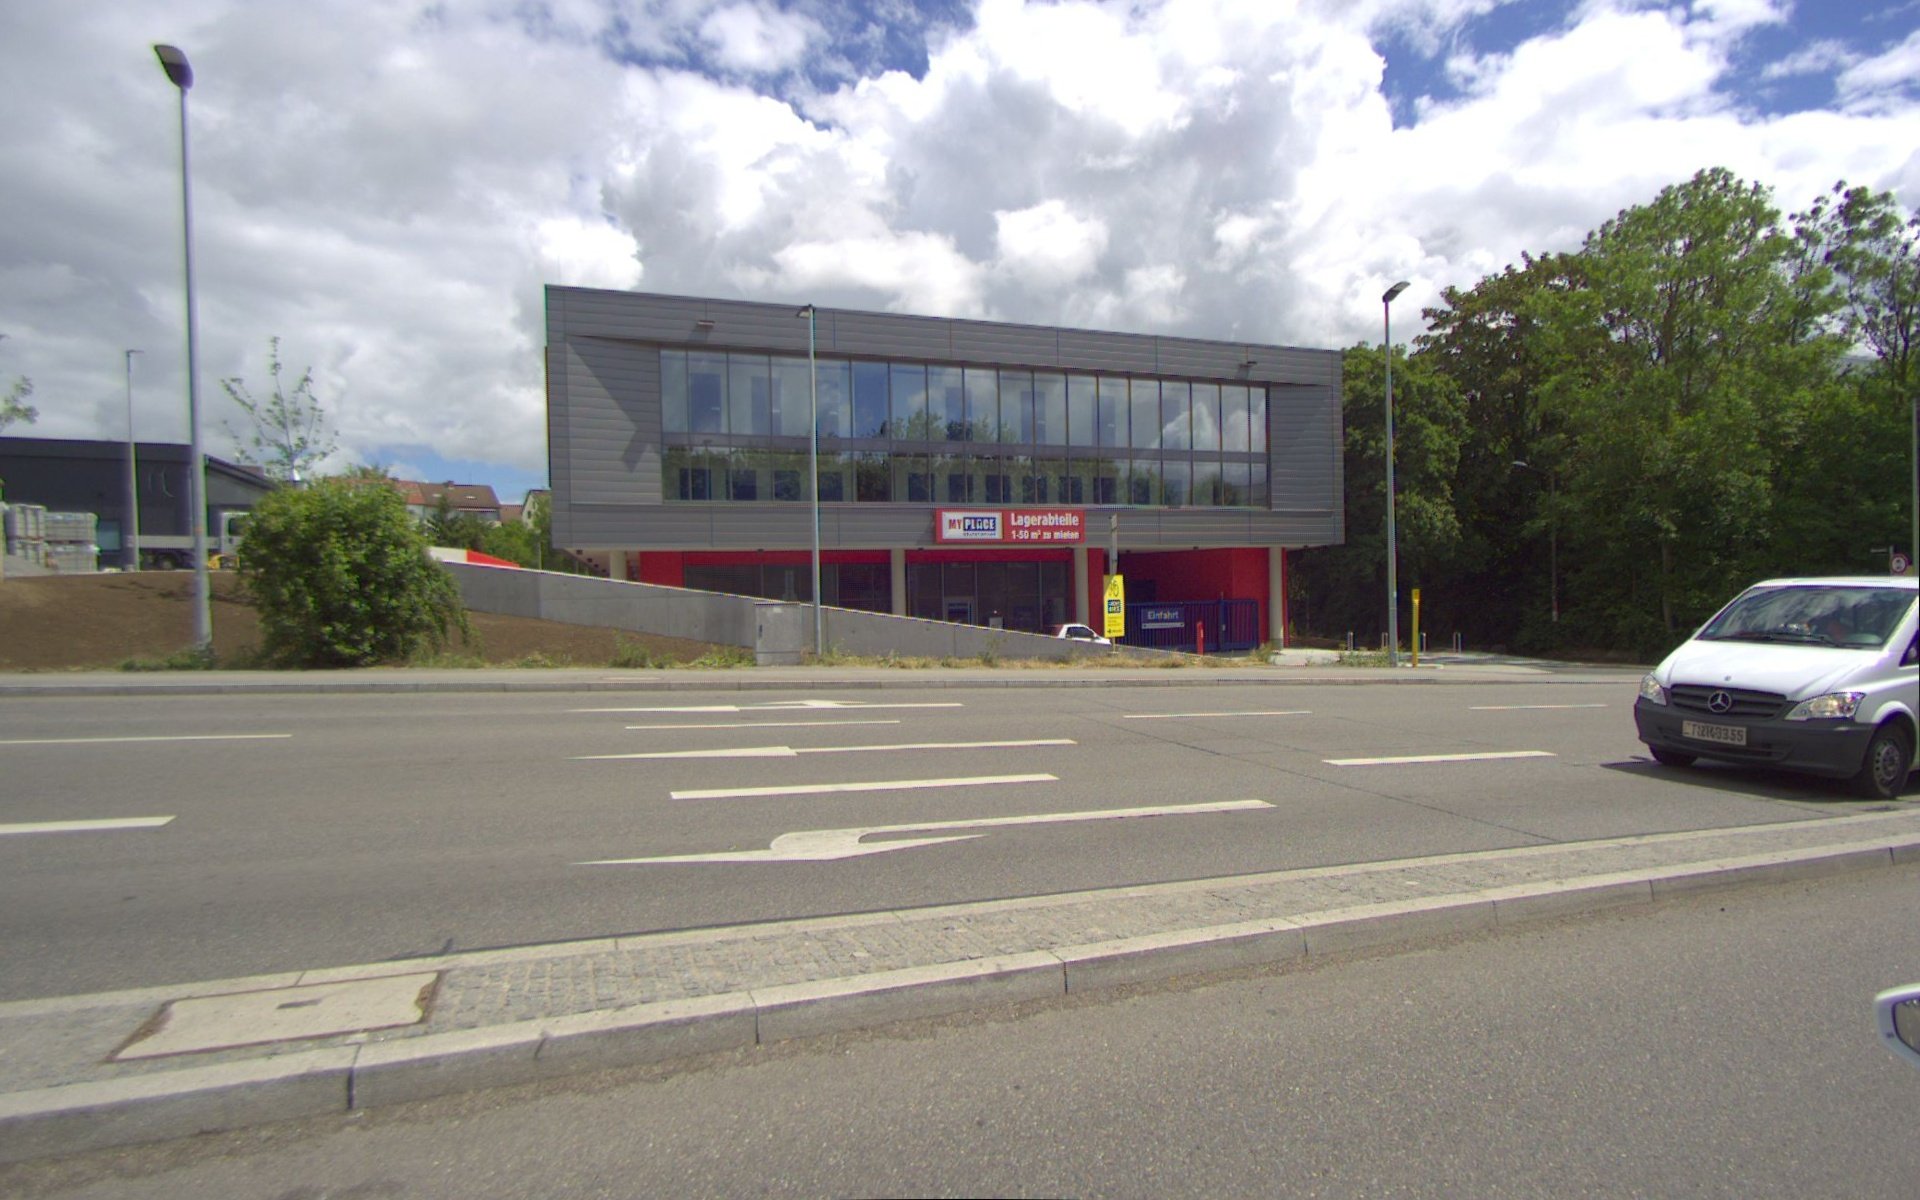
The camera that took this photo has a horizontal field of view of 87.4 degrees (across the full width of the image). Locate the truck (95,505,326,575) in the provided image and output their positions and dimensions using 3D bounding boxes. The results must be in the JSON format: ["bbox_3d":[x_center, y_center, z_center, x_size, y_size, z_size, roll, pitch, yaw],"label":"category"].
[{"bbox_3d":[-27.194,-2.169,36.649,6.459,2.174,1.997,-3,2,-8],"label":"truck"}]

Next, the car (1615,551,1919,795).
[{"bbox_3d":[8.893,0.603,9.782,4.681,1.950,1.873,1,1,-22],"label":"car"}]

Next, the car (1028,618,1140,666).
[{"bbox_3d":[4.449,1.491,36.167,3.678,1.529,1.667,-1,1,-17],"label":"car"}]
